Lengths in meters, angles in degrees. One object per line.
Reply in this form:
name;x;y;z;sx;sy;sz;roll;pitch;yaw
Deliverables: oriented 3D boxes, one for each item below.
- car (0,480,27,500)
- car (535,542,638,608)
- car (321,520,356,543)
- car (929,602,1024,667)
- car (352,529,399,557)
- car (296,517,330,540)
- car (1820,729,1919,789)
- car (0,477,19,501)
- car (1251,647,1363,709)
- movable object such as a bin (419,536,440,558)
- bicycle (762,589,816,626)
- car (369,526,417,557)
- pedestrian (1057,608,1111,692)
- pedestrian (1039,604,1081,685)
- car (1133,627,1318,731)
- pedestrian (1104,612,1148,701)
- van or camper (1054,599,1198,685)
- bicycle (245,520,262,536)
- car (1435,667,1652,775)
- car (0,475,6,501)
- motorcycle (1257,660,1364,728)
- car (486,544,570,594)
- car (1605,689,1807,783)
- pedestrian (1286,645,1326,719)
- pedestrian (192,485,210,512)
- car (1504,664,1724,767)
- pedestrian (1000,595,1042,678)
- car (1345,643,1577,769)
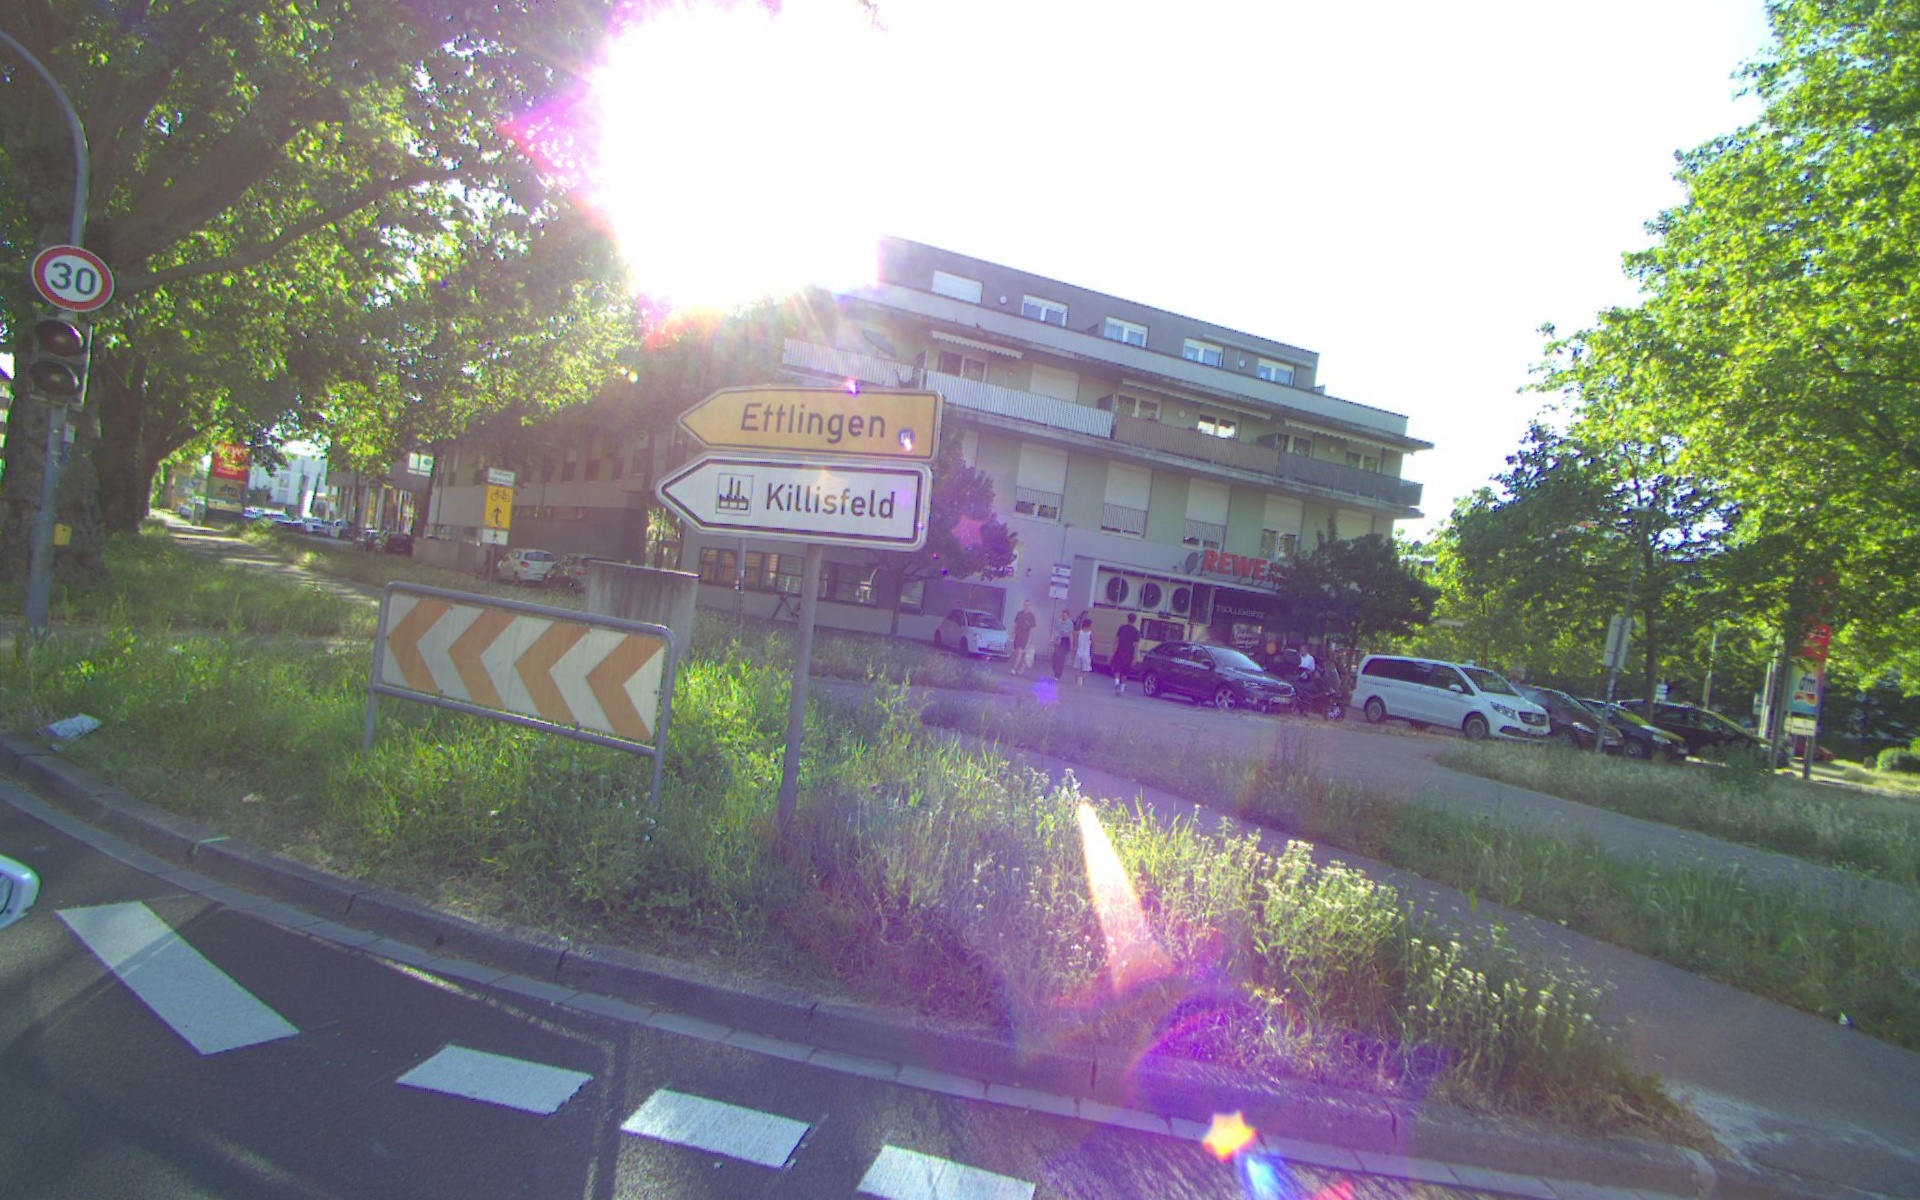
car;-89.614;-10.460;95.307;1.543;1.541;3.958;10;-2;-41
car;-12.891;-0.898;34.583;1.897;1.792;4.272;7;0;-39
car;-58.653;-6.460;94.887;1.979;1.755;4.131;8;0;-41
car;0.484;1.082;32.883;1.654;1.474;3.535;8;3;-23
car;-39.190;-3.823;67.399;1.852;1.486;4.075;8;0;-41
car;-60.264;-6.689;93.674;1.869;1.755;4.130;7;0;-42
car;35.735;6.144;38.334;4.043;1.819;1.997;6;-2;32
car;-80.678;-9.398;84.693;1.740;1.808;4.495;10;-2;-41
car;12.306;2.742;35.871;1.558;1.653;3.657;8;0;-23
movable object such as a bin;-39.237;-3.928;74.432;1.183;1.481;1.397;7;0;-28
bicycle;-5.885;0.260;34.670;1.657;1.030;0.585;7;1;-21
car;-34.987;-3.620;62.063;1.851;1.571;3.718;8;0;-39
pedestrian;2.756;1.107;22.355;0.932;1.719;0.884;8;1;10
pedestrian;2.503;1.115;25.165;0.788;1.903;0.785;7;1;5
car;5.904;1.724;22.870;1.657;1.542;3.955;8;3;-28
pedestrian;3.639;1.233;22.154;0.673;1.832;0.964;7;1;5
van or camper;5.512;1.337;34.286;2.234;2.274;5.343;7;0;-21
bicycle;-49.880;-5.070;70.992;1.462;1.016;0.383;7;1;34
car;15.476;3.169;27.014;1.975;1.798;4.603;8;3;-23
car;-72.269;-8.489;74.490;1.727;1.929;5.153;9;-1;-38
motorcycle;8.397;2.230;24.242;0.941;1.263;2.300;7;0;-27
car;-17.419;-1.278;40.470;1.851;1.561;4.272;8;0;-39
car;23.166;4.171;31.390;1.988;1.799;4.574;7;4;-43
pedestrian;8.748;2.066;25.446;0.554;1.772;0.528;8;-1;-28
pedestrian;-53.409;-7.142;70.808;0.654;1.784;0.766;8;2;41
car;17.936;3.118;27.884;1.975;1.798;4.603;8;3;-23
pedestrian;1.549;0.920;25.310;0.767;1.956;0.839;7;1;7
car;12.646;2.605;25.845;1.975;2.124;5.019;8;3;-23
